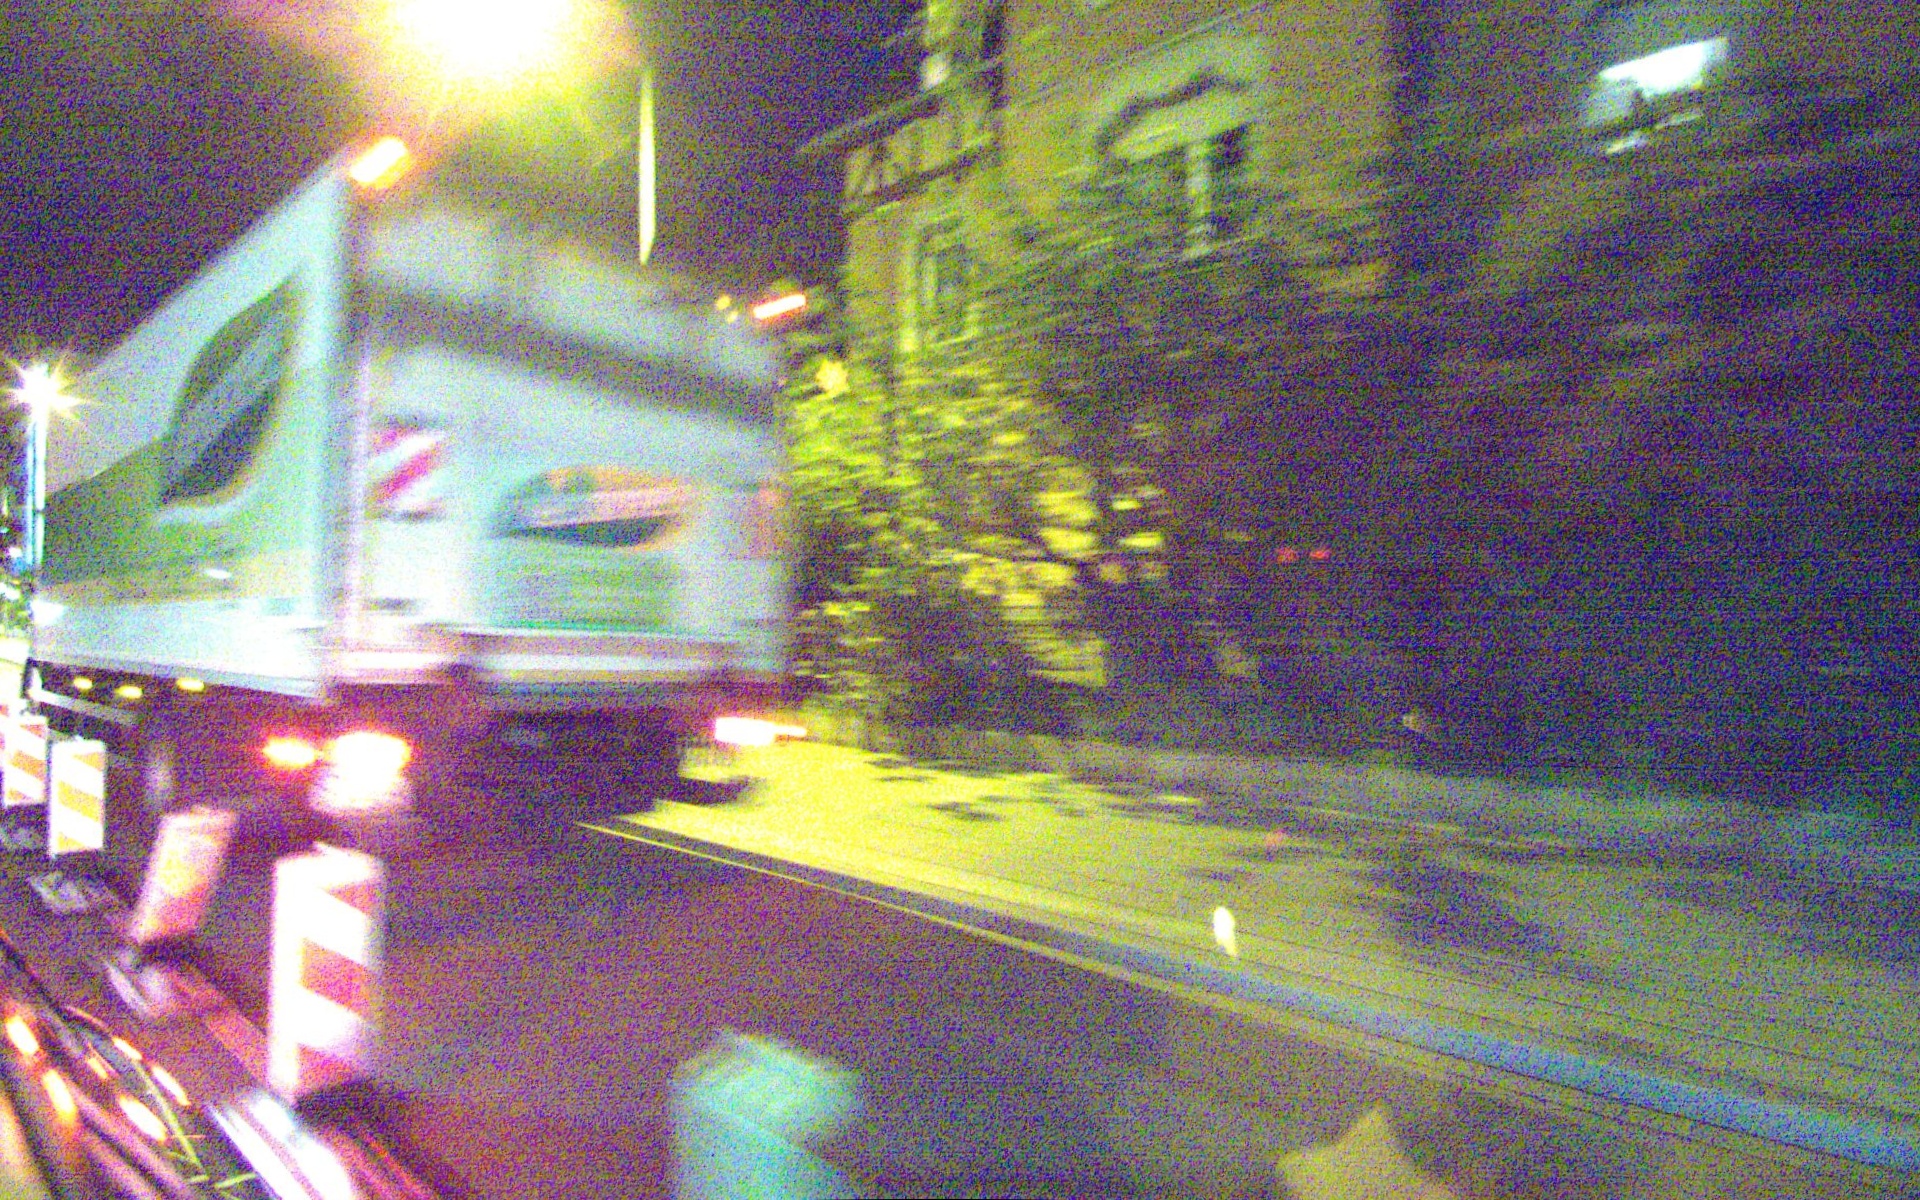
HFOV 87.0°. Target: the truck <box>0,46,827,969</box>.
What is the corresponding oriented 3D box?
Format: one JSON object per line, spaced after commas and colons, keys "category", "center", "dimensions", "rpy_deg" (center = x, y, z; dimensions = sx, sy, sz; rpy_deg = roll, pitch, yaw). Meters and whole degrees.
{"category": "truck", "center": [-5.546, -0.311, 8.443], "dimensions": [10.106, 3.746, 2.727], "rpy_deg": [-1, -3, 41]}
